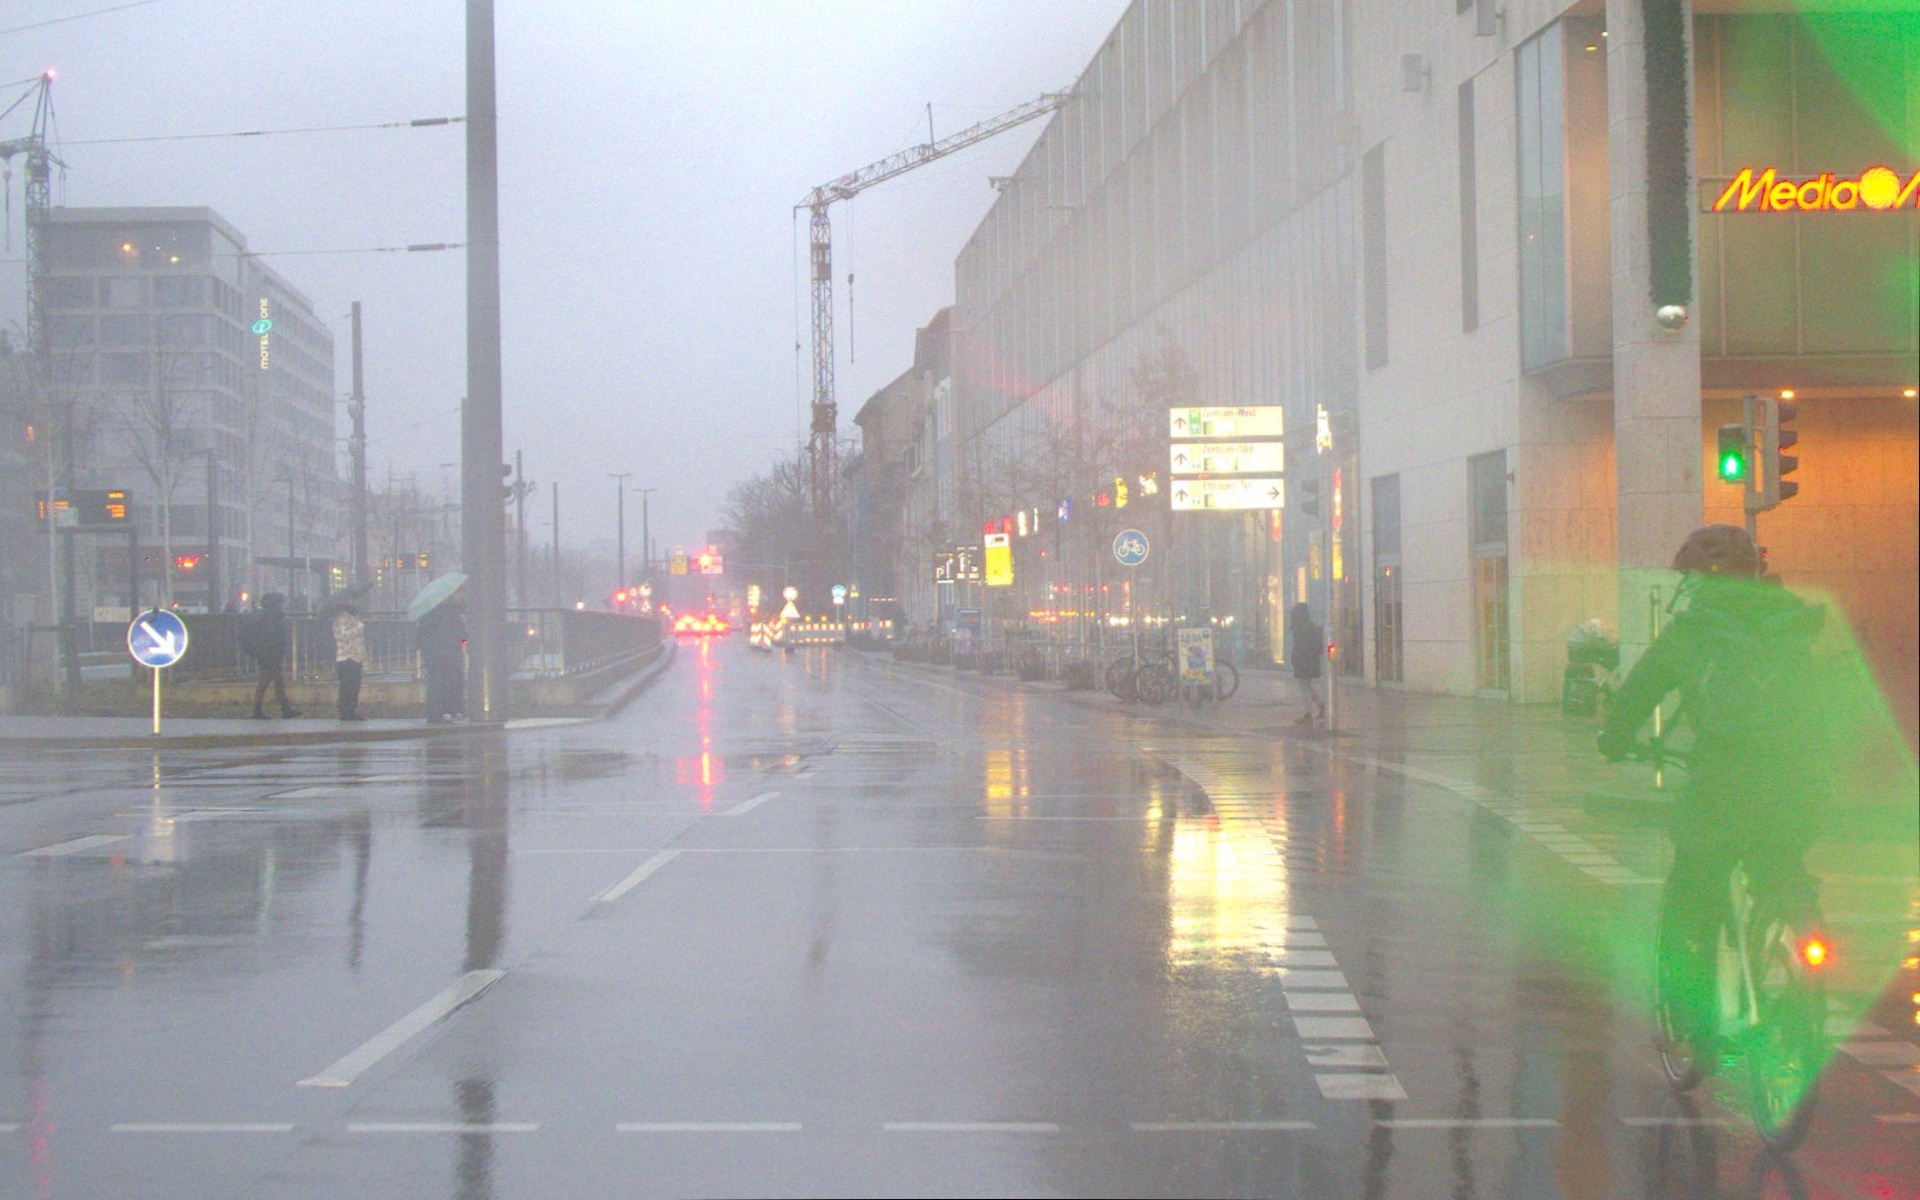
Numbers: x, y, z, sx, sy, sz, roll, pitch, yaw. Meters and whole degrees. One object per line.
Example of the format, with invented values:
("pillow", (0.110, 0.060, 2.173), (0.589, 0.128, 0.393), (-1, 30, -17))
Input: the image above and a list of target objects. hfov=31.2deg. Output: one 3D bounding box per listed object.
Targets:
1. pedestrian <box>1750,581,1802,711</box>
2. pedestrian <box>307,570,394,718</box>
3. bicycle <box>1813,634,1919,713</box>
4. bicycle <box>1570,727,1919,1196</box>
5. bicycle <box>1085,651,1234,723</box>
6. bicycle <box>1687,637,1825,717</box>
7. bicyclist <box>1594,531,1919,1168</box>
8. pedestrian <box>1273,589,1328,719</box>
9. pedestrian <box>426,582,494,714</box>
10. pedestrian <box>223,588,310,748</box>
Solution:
("pedestrian", (10.987, 0.621, 46.297), (0.600, 1.739, 0.524), (1, -1, 7))
("pedestrian", (-7.621, 0.548, 42.991), (0.821, 1.825, 0.786), (1, -1, -31))
("bicycle", (12.653, 1.016, 47.400), (1.646, 1.066, 0.525), (1, -1, -4))
("bicycle", (2.209, 0.935, 9.466), (0.708, 1.090, 1.784), (0, 0, -1))
("bicycle", (3.360, 1.467, 58.136), (2.442, 1.150, 0.674), (-1, -1, -2))
("bicycle", (10.945, 1.058, 47.280), (1.767, 1.066, 0.525), (1, -1, -9))
("bicyclist", (2.198, 0.647, 9.448), (0.702, 1.654, 0.964), (-1, 0, -1))
("pedestrian", (4.510, 0.711, 45.567), (0.636, 1.703, 0.573), (-1, -1, -2))
("pedestrian", (-6.397, 0.615, 44.025), (0.612, 1.680, 0.577), (0, -1, 41))
("pedestrian", (-8.820, 0.860, 43.699), (0.785, 2.007, 0.726), (0, -1, 41))
